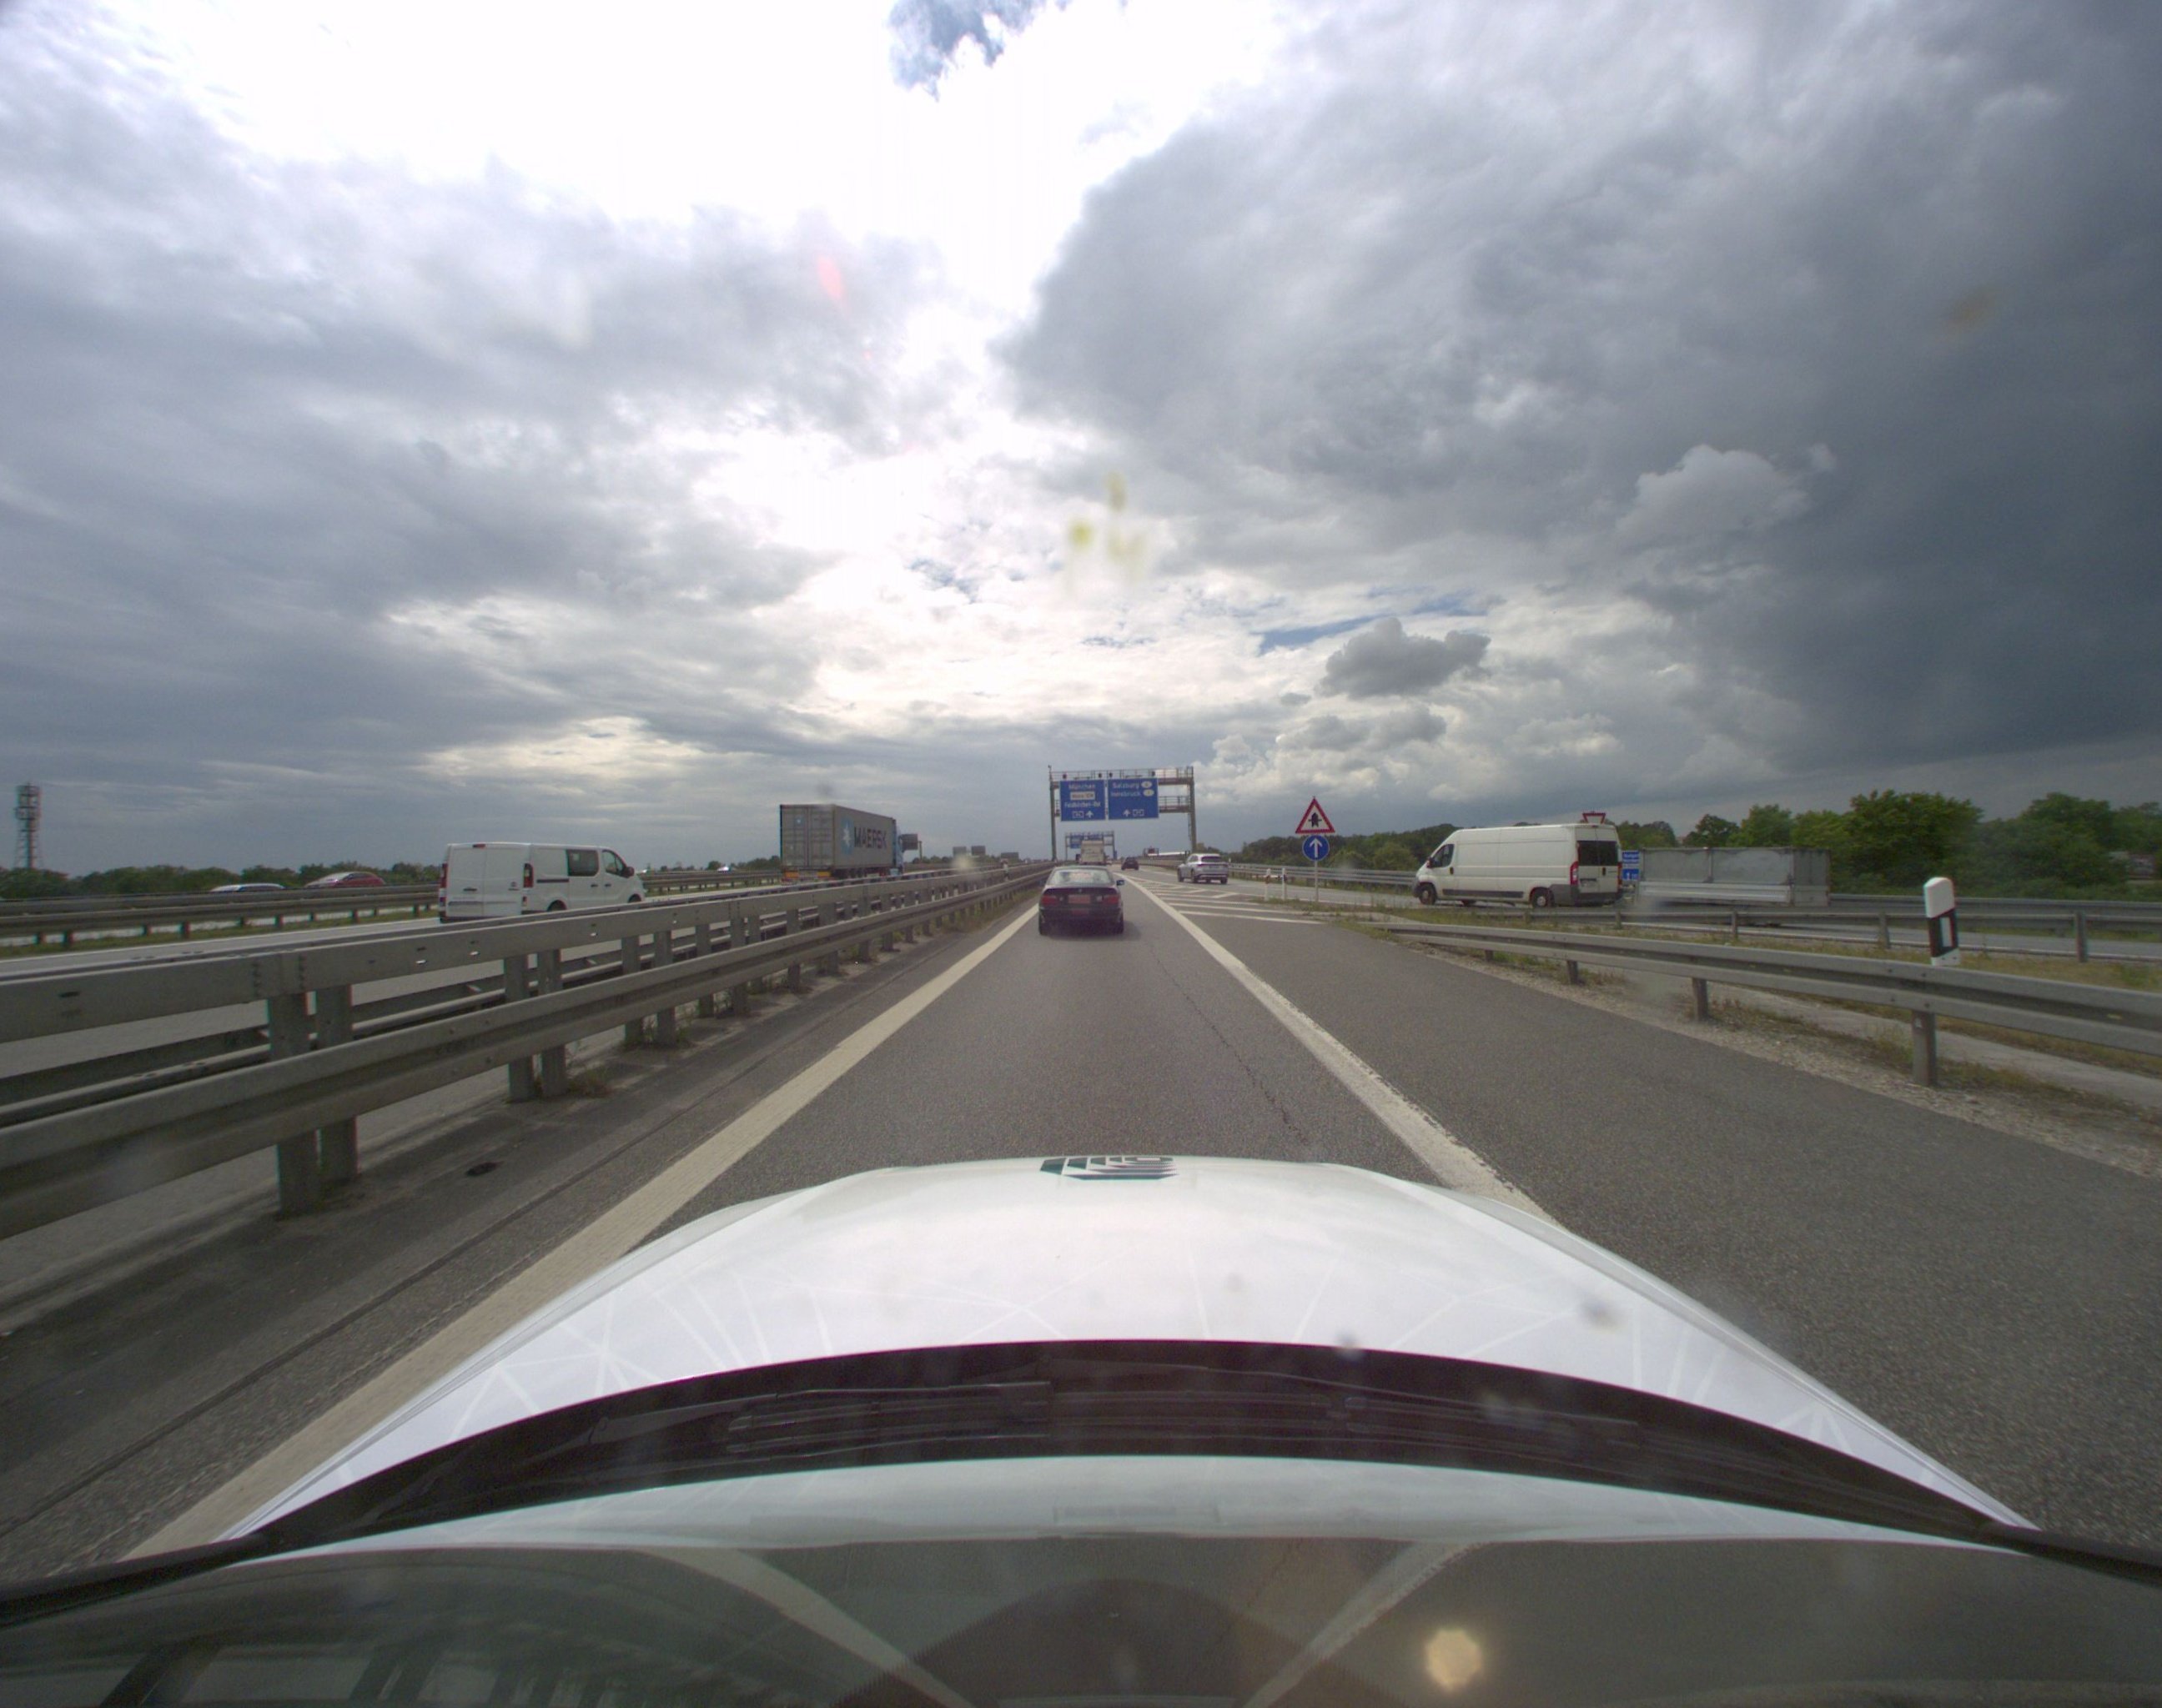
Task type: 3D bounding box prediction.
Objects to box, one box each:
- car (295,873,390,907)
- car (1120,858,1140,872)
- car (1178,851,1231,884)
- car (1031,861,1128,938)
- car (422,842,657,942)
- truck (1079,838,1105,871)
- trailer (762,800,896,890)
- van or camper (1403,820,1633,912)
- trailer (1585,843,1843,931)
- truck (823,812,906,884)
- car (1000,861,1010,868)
[{"bbox_3d":[-43.783,2.074,48.401,1.988,1.849,3.997,0,0,-2],"label":"car"},{"bbox_3d":[5.297,1.169,88.872,1.986,1.552,4.001,0,0,1],"label":"car"},{"bbox_3d":[6.752,0.723,44.891,1.933,1.684,4.202,-1,0,-5],"label":"car"},{"bbox_3d":[0.001,0.859,17.136,1.776,1.378,4.137,-1,0,1],"label":"car"},{"bbox_3d":[-12.010,0.765,18.631,1.994,1.938,5.129,-1,0,-1],"label":"car"},{"bbox_3d":[1.065,0.038,78.691,2.396,3.090,6.371,-1,0,1],"label":"truck"},{"bbox_3d":[-12.517,-0.372,42.107,3.227,3.924,12.374,0,0,-1],"label":"trailer"},{"bbox_3d":[12.698,0.328,24.245,2.235,2.361,5.891,0,0,-25],"label":"van or camper"},{"bbox_3d":[14.941,0.657,19.526,2.004,1.841,4.468,0,1,-27],"label":"trailer"},{"bbox_3d":[-12.656,-0.339,48.200,3.238,3.911,6.605,-1,0,-2],"label":"truck"},{"bbox_3d":[-17.231,2.423,185.261,1.887,1.597,4.414,-1,0,-2],"label":"car"}]
